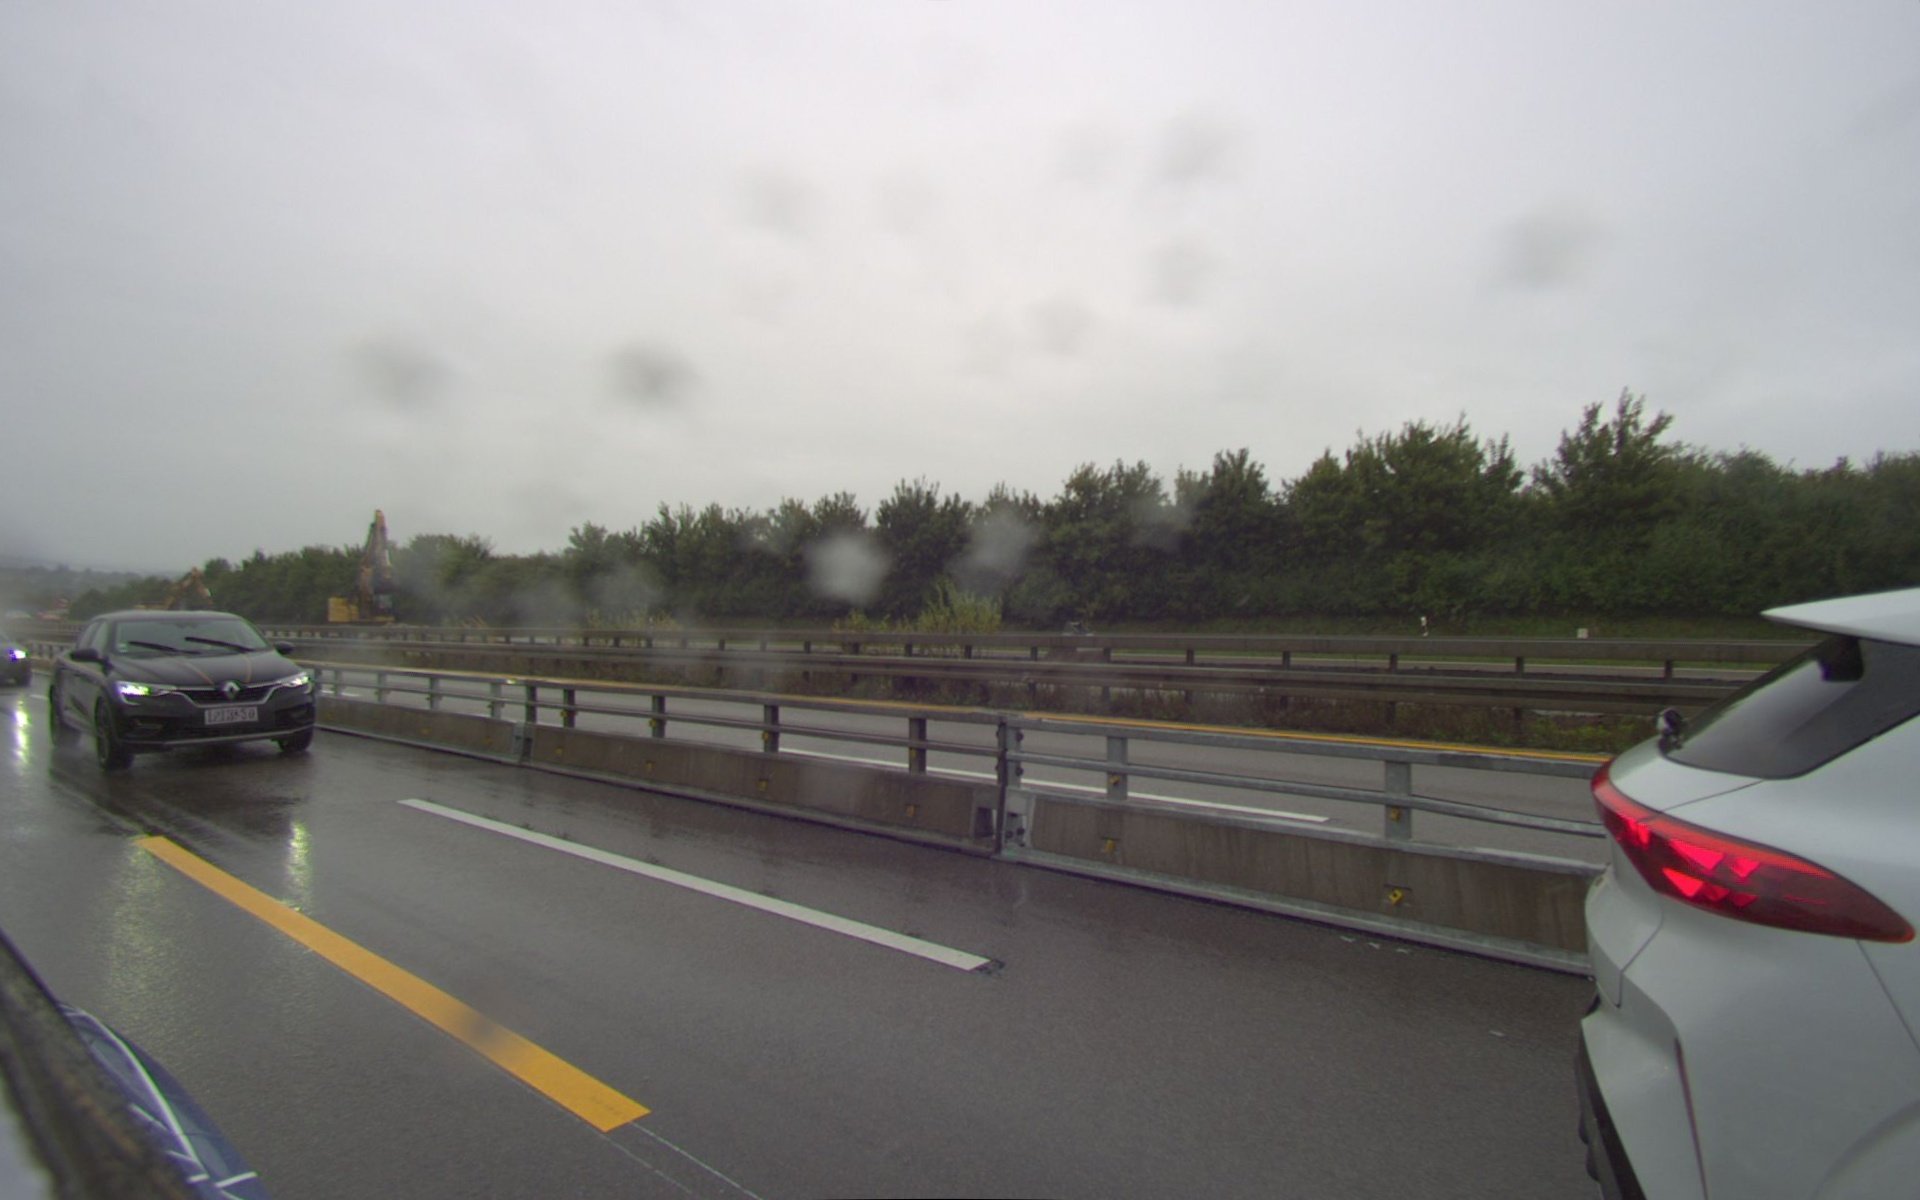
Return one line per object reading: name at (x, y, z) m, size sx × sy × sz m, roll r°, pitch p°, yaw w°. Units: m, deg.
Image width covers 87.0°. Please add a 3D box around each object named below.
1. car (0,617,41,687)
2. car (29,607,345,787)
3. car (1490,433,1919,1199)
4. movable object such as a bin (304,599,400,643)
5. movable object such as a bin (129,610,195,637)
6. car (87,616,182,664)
car at (-22.721, 1.158, 23.092) m, size 4.626 × 1.509 × 1.974 m, roll -1°, pitch -1°, yaw 40°
car at (-8.733, 0.903, 11.283) m, size 4.411 × 1.597 × 1.973 m, roll -1°, pitch -1°, yaw 41°
car at (3.299, 0.570, 0.779) m, size 4.794 × 1.629 × 1.973 m, roll -1°, pitch -1°, yaw 41°
movable object such as a bin at (-40.588, 1.377, 67.521) m, size 6.326 × 2.819 × 3.726 m, roll -1°, pitch -1°, yaw 41°
movable object such as a bin at (-73.252, 2.133, 92.882) m, size 5.087 × 2.312 × 3.410 m, roll -1°, pitch 0°, yaw 34°
car at (-32.142, 1.494, 39.346) m, size 5.098 × 1.730 × 1.931 m, roll -1°, pitch -1°, yaw 40°
